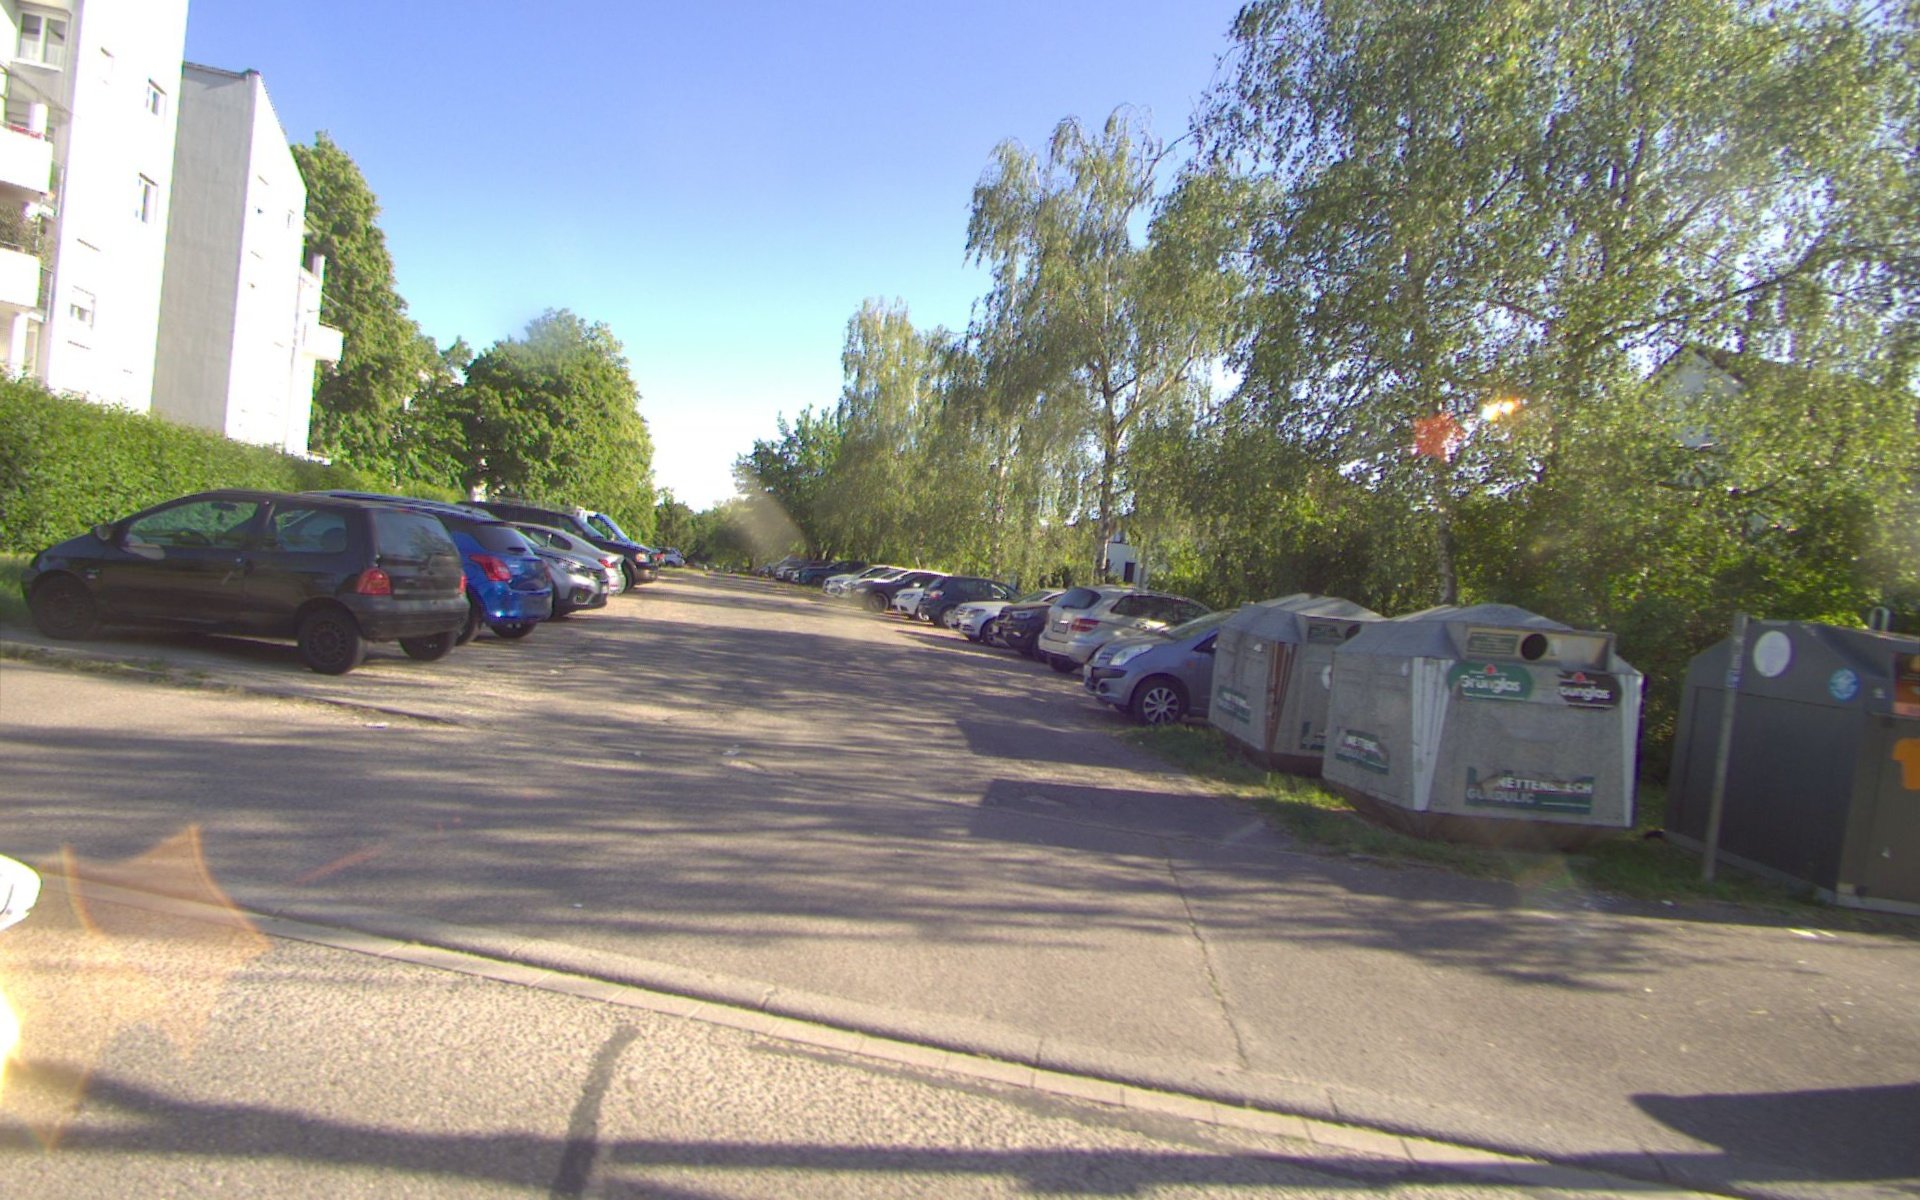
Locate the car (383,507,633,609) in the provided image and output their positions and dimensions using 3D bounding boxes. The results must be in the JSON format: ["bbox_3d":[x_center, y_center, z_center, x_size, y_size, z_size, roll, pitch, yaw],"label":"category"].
[{"bbox_3d":[-8.547,-0.782,19.392,4.092,1.474,1.613,5,1,-17],"label":"car"}]

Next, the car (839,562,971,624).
[{"bbox_3d":[-1.801,-0.226,32.362,3.934,1.418,1.793,8,1,-11],"label":"car"}]

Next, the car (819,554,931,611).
[{"bbox_3d":[-3.252,-0.656,38.162,3.934,1.605,1.793,7,1,-11],"label":"car"}]

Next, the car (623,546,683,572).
[{"bbox_3d":[-21.732,-2.909,71.325,3.891,1.351,1.840,7,1,-15],"label":"car"}]

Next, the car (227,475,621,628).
[{"bbox_3d":[-7.996,-0.699,15.459,4.922,1.676,1.780,6,2,-9],"label":"car"}]

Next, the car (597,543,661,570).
[{"bbox_3d":[-22.332,-2.934,68.010,3.891,1.351,1.840,7,1,-15],"label":"car"}]

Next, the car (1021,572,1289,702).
[{"bbox_3d":[3.321,0.625,17.247,4.008,1.624,1.781,7,2,-20],"label":"car"}]

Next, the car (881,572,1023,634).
[{"bbox_3d":[-0.286,0.074,30.254,3.932,1.294,1.794,8,1,-9],"label":"car"}]

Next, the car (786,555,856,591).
[{"bbox_3d":[-8.276,-1.581,59.809,3.934,1.605,1.793,7,1,-11],"label":"car"}]

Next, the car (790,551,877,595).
[{"bbox_3d":[-6.194,-1.306,49.028,3.934,1.605,1.793,7,1,-11],"label":"car"}]

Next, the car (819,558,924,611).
[{"bbox_3d":[-3.617,-0.620,40.830,3.934,1.605,1.793,7,1,-11],"label":"car"}]

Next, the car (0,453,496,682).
[{"bbox_3d":[-6.423,-0.297,9.185,3.467,1.485,1.703,7,2,3],"label":"car"}]

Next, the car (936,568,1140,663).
[{"bbox_3d":[1.735,0.351,22.585,4.060,1.519,1.781,7,2,-21],"label":"car"}]

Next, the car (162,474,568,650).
[{"bbox_3d":[-6.749,-0.426,11.692,3.624,1.516,1.649,6,2,-1],"label":"car"}]

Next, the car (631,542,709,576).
[{"bbox_3d":[-15.776,-2.227,54.873,3.891,1.351,1.840,7,1,-15],"label":"car"}]

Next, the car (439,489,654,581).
[{"bbox_3d":[-13.487,-2.093,33.361,6.180,2.175,2.401,7,1,-16],"label":"car"}]

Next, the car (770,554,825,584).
[{"bbox_3d":[-12.405,-2.344,76.789,3.934,1.730,1.793,7,1,-11],"label":"car"}]

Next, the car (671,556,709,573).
[{"bbox_3d":[-26.797,-3.570,99.945,3.599,1.228,1.840,7,1,-15],"label":"car"}]

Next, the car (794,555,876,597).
[{"bbox_3d":[-6.498,-1.236,52.032,3.934,1.605,1.793,7,1,-11],"label":"car"}]

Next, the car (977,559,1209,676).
[{"bbox_3d":[2.625,0.344,20.030,4.060,1.728,1.781,7,3,-21],"label":"car"}]

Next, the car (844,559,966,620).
[{"bbox_3d":[-1.955,-0.368,35.248,3.934,1.605,1.793,7,1,-11],"label":"car"}]

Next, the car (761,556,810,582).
[{"bbox_3d":[-14.804,-2.611,85.363,3.934,1.605,1.793,7,1,-11],"label":"car"}]

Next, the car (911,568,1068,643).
[{"bbox_3d":[0.772,0.143,27.892,3.932,1.522,1.944,8,1,-9],"label":"car"}]

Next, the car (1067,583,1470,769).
[{"bbox_3d":[3.395,0.813,11.606,3.992,1.457,1.633,8,1,-1],"label":"car"}]

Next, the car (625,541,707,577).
[{"bbox_3d":[-15.150,-2.104,52.097,3.891,1.351,1.840,7,1,-15],"label":"car"}]

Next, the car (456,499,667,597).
[{"bbox_3d":[-9.843,-1.264,25.196,4.460,1.794,1.843,7,1,-9],"label":"car"}]

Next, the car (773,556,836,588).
[{"bbox_3d":[-10.435,-1.856,67.288,3.934,1.605,1.793,7,1,-11],"label":"car"}]
